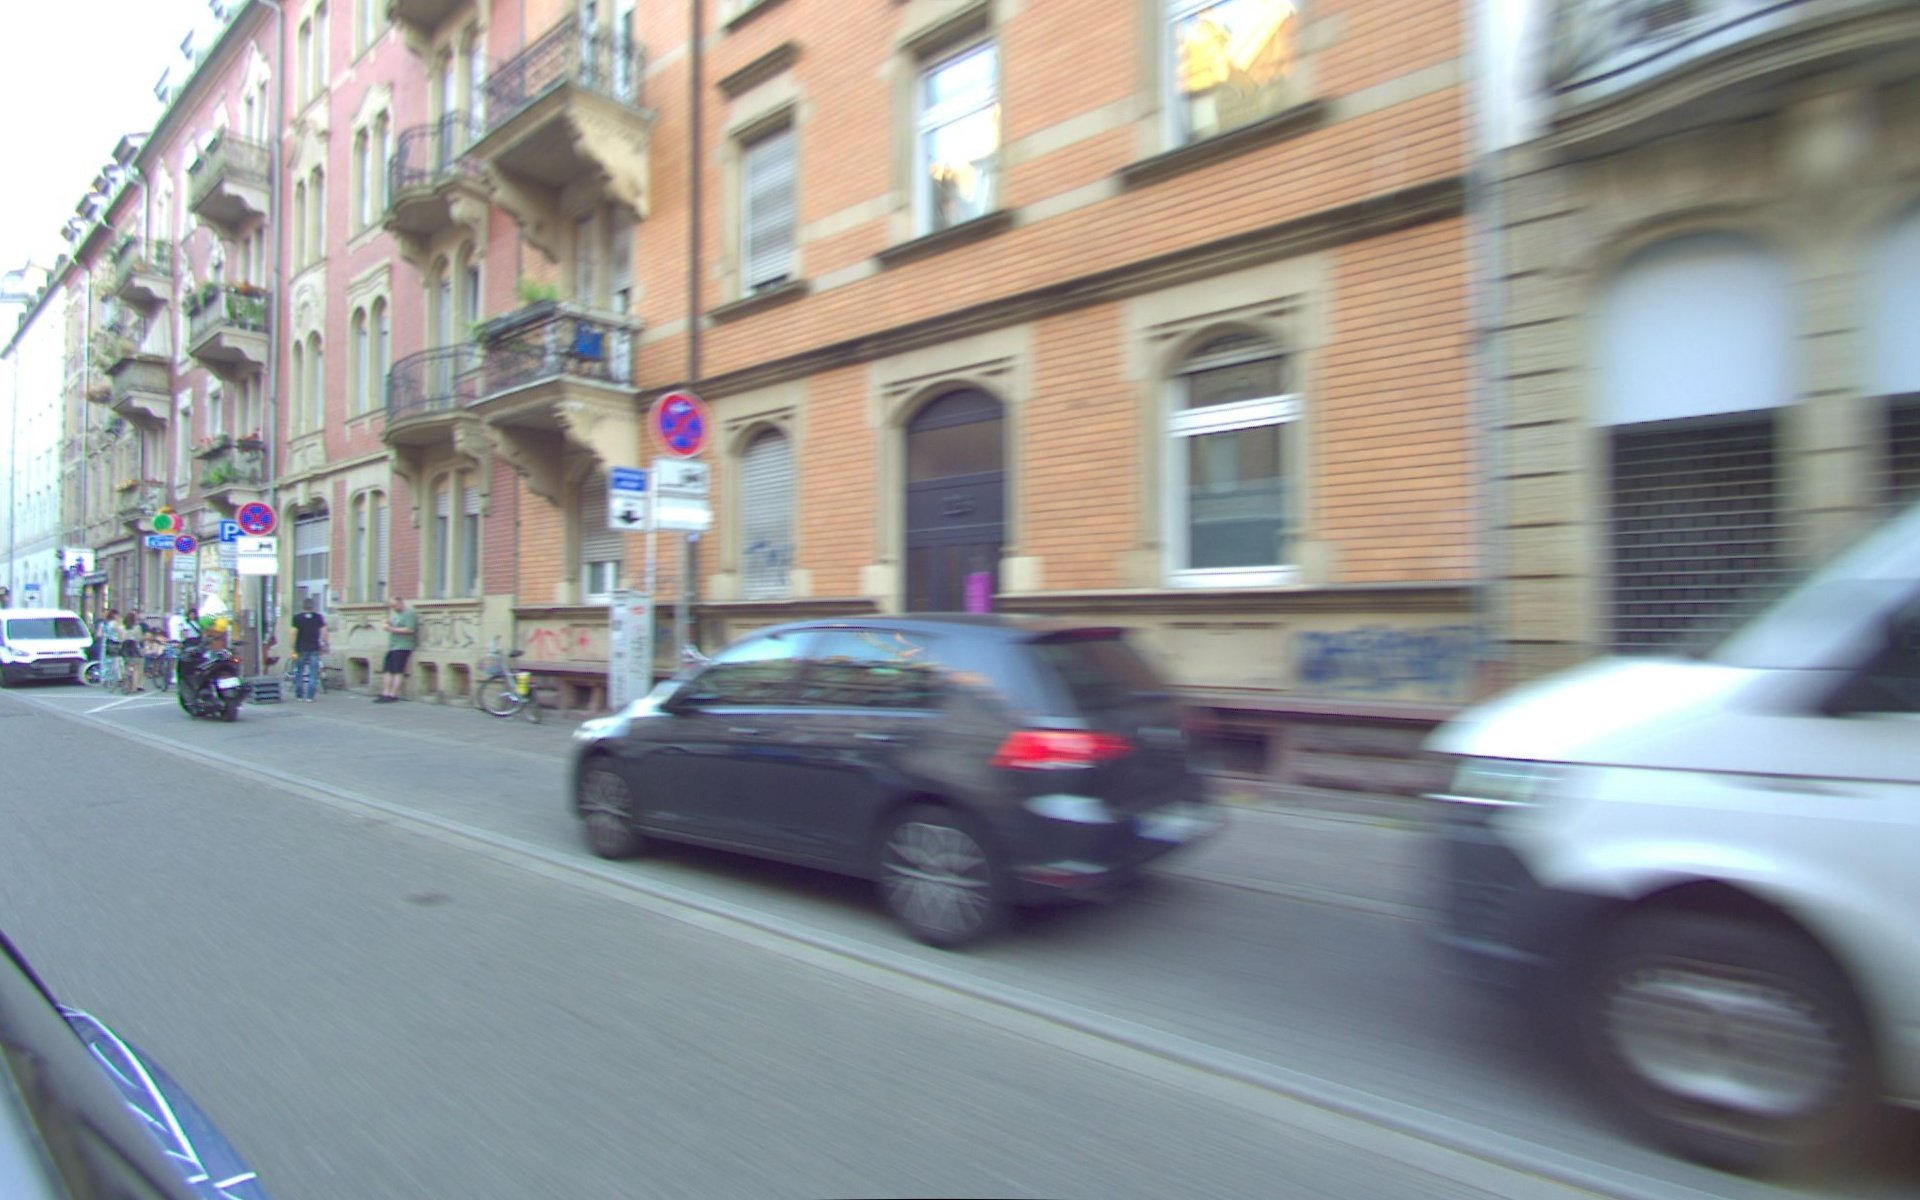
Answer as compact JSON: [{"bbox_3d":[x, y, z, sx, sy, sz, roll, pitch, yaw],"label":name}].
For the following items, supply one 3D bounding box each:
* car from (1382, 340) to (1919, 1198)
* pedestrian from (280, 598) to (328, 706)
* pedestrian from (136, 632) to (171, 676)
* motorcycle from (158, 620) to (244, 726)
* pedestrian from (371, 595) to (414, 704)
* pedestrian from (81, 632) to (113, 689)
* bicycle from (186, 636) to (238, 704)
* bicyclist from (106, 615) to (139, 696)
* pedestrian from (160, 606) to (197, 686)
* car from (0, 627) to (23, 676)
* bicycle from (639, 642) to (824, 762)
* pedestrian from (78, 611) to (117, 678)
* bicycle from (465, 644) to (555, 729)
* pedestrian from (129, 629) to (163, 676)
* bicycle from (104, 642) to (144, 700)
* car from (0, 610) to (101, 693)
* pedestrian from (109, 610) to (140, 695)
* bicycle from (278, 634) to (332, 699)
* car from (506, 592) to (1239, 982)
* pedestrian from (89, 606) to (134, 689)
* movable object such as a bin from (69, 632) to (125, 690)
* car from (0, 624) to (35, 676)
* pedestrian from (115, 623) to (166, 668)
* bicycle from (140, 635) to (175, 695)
[{"bbox_3d":[3.693,0.366,2.139,4.844,1.936,1.817,-1,-2,42],"label":"car"},{"bbox_3d":[-11.477,0.884,17.693,0.672,1.824,0.964,0,0,-34],"label":"pedestrian"},{"bbox_3d":[-21.803,1.445,27.359,0.572,1.148,0.625,-1,0,39],"label":"pedestrian"},{"bbox_3d":[-11.073,1.017,14.733,2.014,1.415,0.677,-1,0,44],"label":"motorcycle"},{"bbox_3d":[-9.581,0.818,17.087,0.642,1.803,0.458,-1,-1,44],"label":"pedestrian"},{"bbox_3d":[-19.670,1.373,23.071,0.652,1.260,0.473,-1,0,41],"label":"pedestrian"},{"bbox_3d":[-13.739,1.255,18.570,1.837,1.168,0.407,-1,0,42],"label":"bicycle"},{"bbox_3d":[-16.996,1.111,20.544,0.487,1.602,0.460,-1,-1,44],"label":"bicyclist"},{"bbox_3d":[-18.179,1.051,23.557,0.589,1.828,0.723,0,0,-31],"label":"pedestrian"},{"bbox_3d":[-33.141,1.729,34.153,3.969,1.608,1.906,-2,-2,42],"label":"car"},{"bbox_3d":[-2.448,1.032,10.720,2.020,1.109,0.743,-1,0,35],"label":"bicycle"},{"bbox_3d":[-22.758,1.156,26.711,0.610,1.743,0.587,0,0,-21],"label":"pedestrian"},{"bbox_3d":[-6.130,1.146,13.744,1.740,1.038,0.443,-1,0,42],"label":"bicycle"},{"bbox_3d":[-22.463,1.447,27.922,0.585,1.261,0.612,-1,0,39],"label":"pedestrian"},{"bbox_3d":[-16.878,1.412,20.426,1.521,1.076,0.460,-1,0,44],"label":"bicycle"},{"bbox_3d":[-22.261,1.167,24.267,4.582,1.802,1.753,-1,-1,39],"label":"car"},{"bbox_3d":[-17.274,1.073,20.917,0.350,1.722,0.414,-1,0,36],"label":"pedestrian"},{"bbox_3d":[-12.561,1.245,19.397,1.837,1.168,0.407,-1,0,42],"label":"bicycle"},{"bbox_3d":[-0.729,0.760,5.892,4.168,1.482,1.819,-1,-2,39],"label":"car"},{"bbox_3d":[-19.044,1.058,22.712,0.718,1.828,0.593,-1,0,32],"label":"pedestrian"},{"bbox_3d":[-19.644,1.373,23.035,0.776,1.260,0.878,-1,0,41],"label":"movable object such as a bin"},{"bbox_3d":[-29.780,1.514,31.073,3.792,1.541,1.687,-2,-2,42],"label":"car"},{"bbox_3d":[-22.915,1.260,28.298,0.503,1.212,1.028,-1,0,39],"label":"pedestrian"},{"bbox_3d":[-16.955,1.347,21.370,0.460,1.164,2.003,0,0,-42],"label":"bicycle"}]
